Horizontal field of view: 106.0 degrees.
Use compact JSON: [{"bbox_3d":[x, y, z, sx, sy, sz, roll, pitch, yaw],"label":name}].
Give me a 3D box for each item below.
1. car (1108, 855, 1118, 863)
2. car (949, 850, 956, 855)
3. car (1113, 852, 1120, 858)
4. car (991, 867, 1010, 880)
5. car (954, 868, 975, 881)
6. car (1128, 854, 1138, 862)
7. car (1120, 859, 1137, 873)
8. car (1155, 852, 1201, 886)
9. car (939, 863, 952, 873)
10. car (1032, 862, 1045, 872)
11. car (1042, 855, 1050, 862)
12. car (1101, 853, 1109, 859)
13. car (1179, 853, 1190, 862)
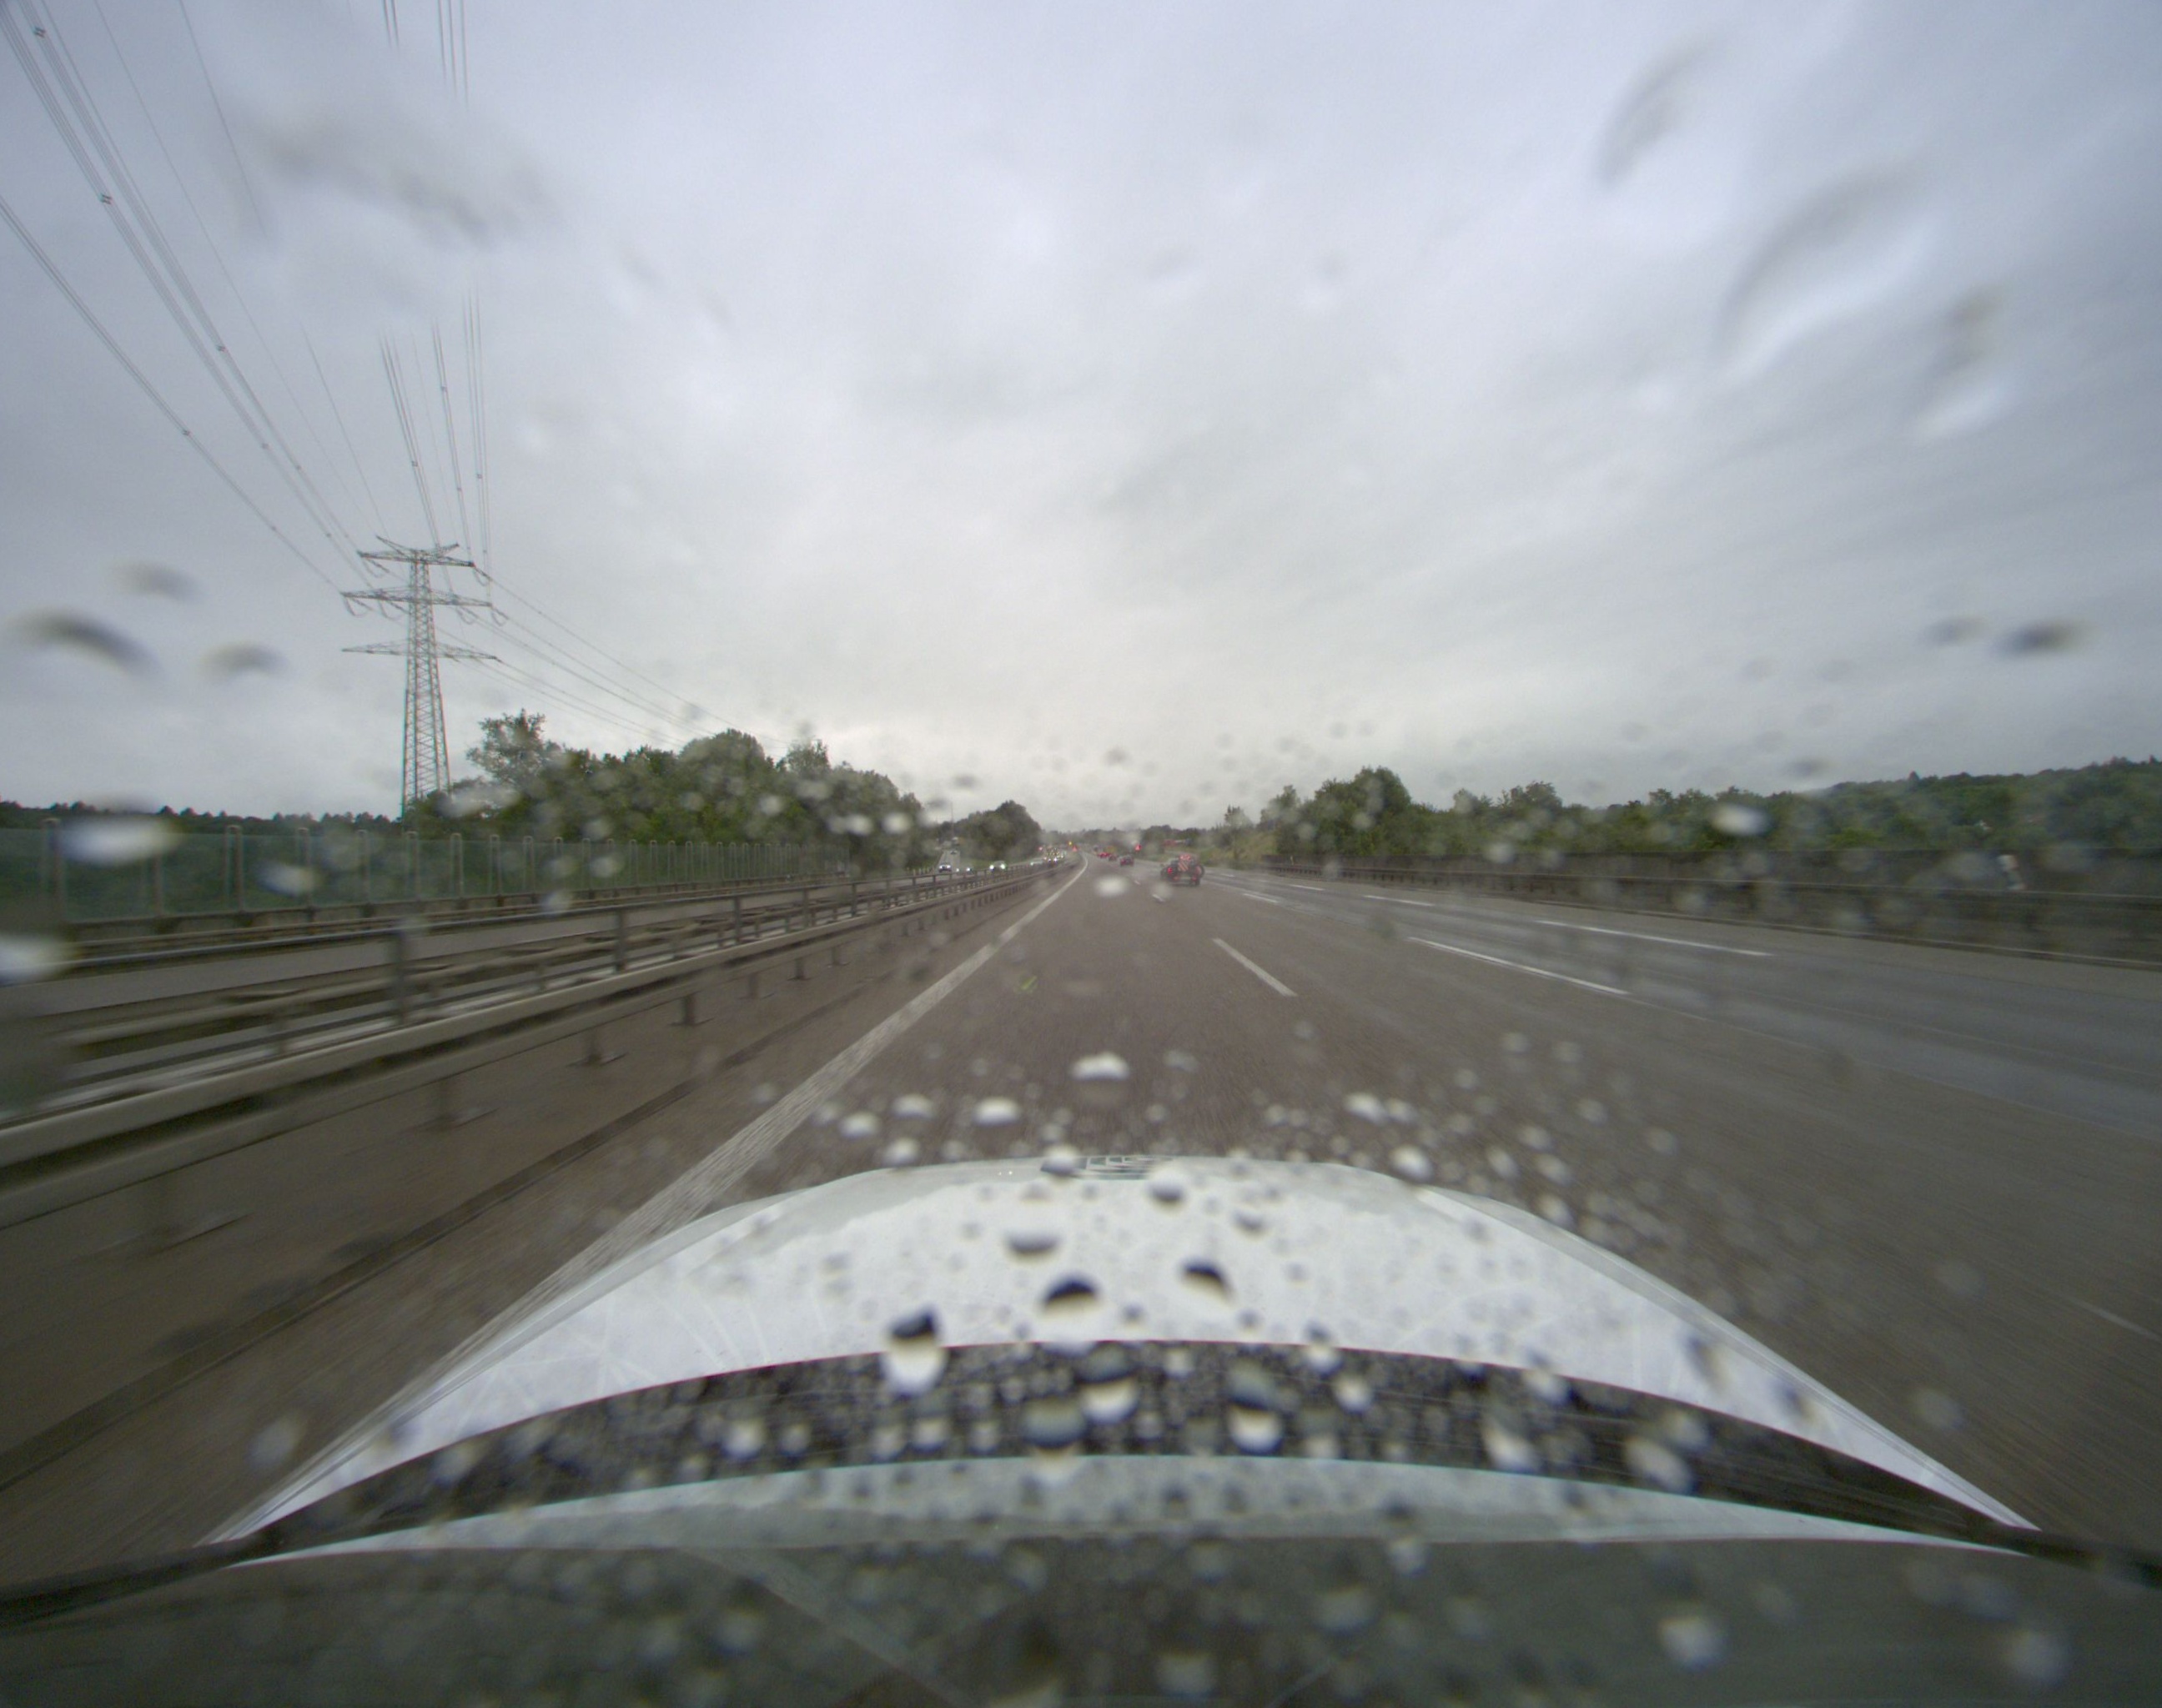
[{"bbox_3d":[6.972,1.061,180.063,1.987,1.628,3.999,-2,0,-1],"label":"car"},{"bbox_3d":[-39.851,-0.524,252.499,1.970,1.543,3.982,-2,0,-13],"label":"car"},{"bbox_3d":[11.339,0.320,259.843,1.987,1.628,3.999,-2,0,-1],"label":"car"},{"bbox_3d":[-10.475,2.508,106.324,1.809,1.437,4.090,-3,0,1],"label":"car"},{"bbox_3d":[-14.420,2.538,100.927,1.809,1.388,4.090,-3,0,1],"label":"car"},{"bbox_3d":[11.313,0.876,177.342,1.987,1.761,3.999,-2,0,-1],"label":"car"},{"bbox_3d":[6.570,1.621,113.698,1.987,1.761,3.999,-2,0,-1],"label":"car"},{"bbox_3d":[5.096,0.797,43.452,2.049,1.671,5.525,-1,-1,3],"label":"car"},{"bbox_3d":[-23.326,2.437,140.548,1.992,1.670,3.989,-2,0,-8],"label":"car"},{"bbox_3d":[-6.569,1.988,126.571,1.650,1.437,4.090,-3,0,1],"label":"car"},{"bbox_3d":[-9.550,1.259,221.725,1.898,1.665,4.714,-2,0,1],"label":"car"},{"bbox_3d":[7.307,0.578,247.809,1.987,1.628,3.999,-2,0,-1],"label":"car"},{"bbox_3d":[20.632,0.716,162.452,1.912,1.709,4.007,-2,0,6],"label":"car"}]
